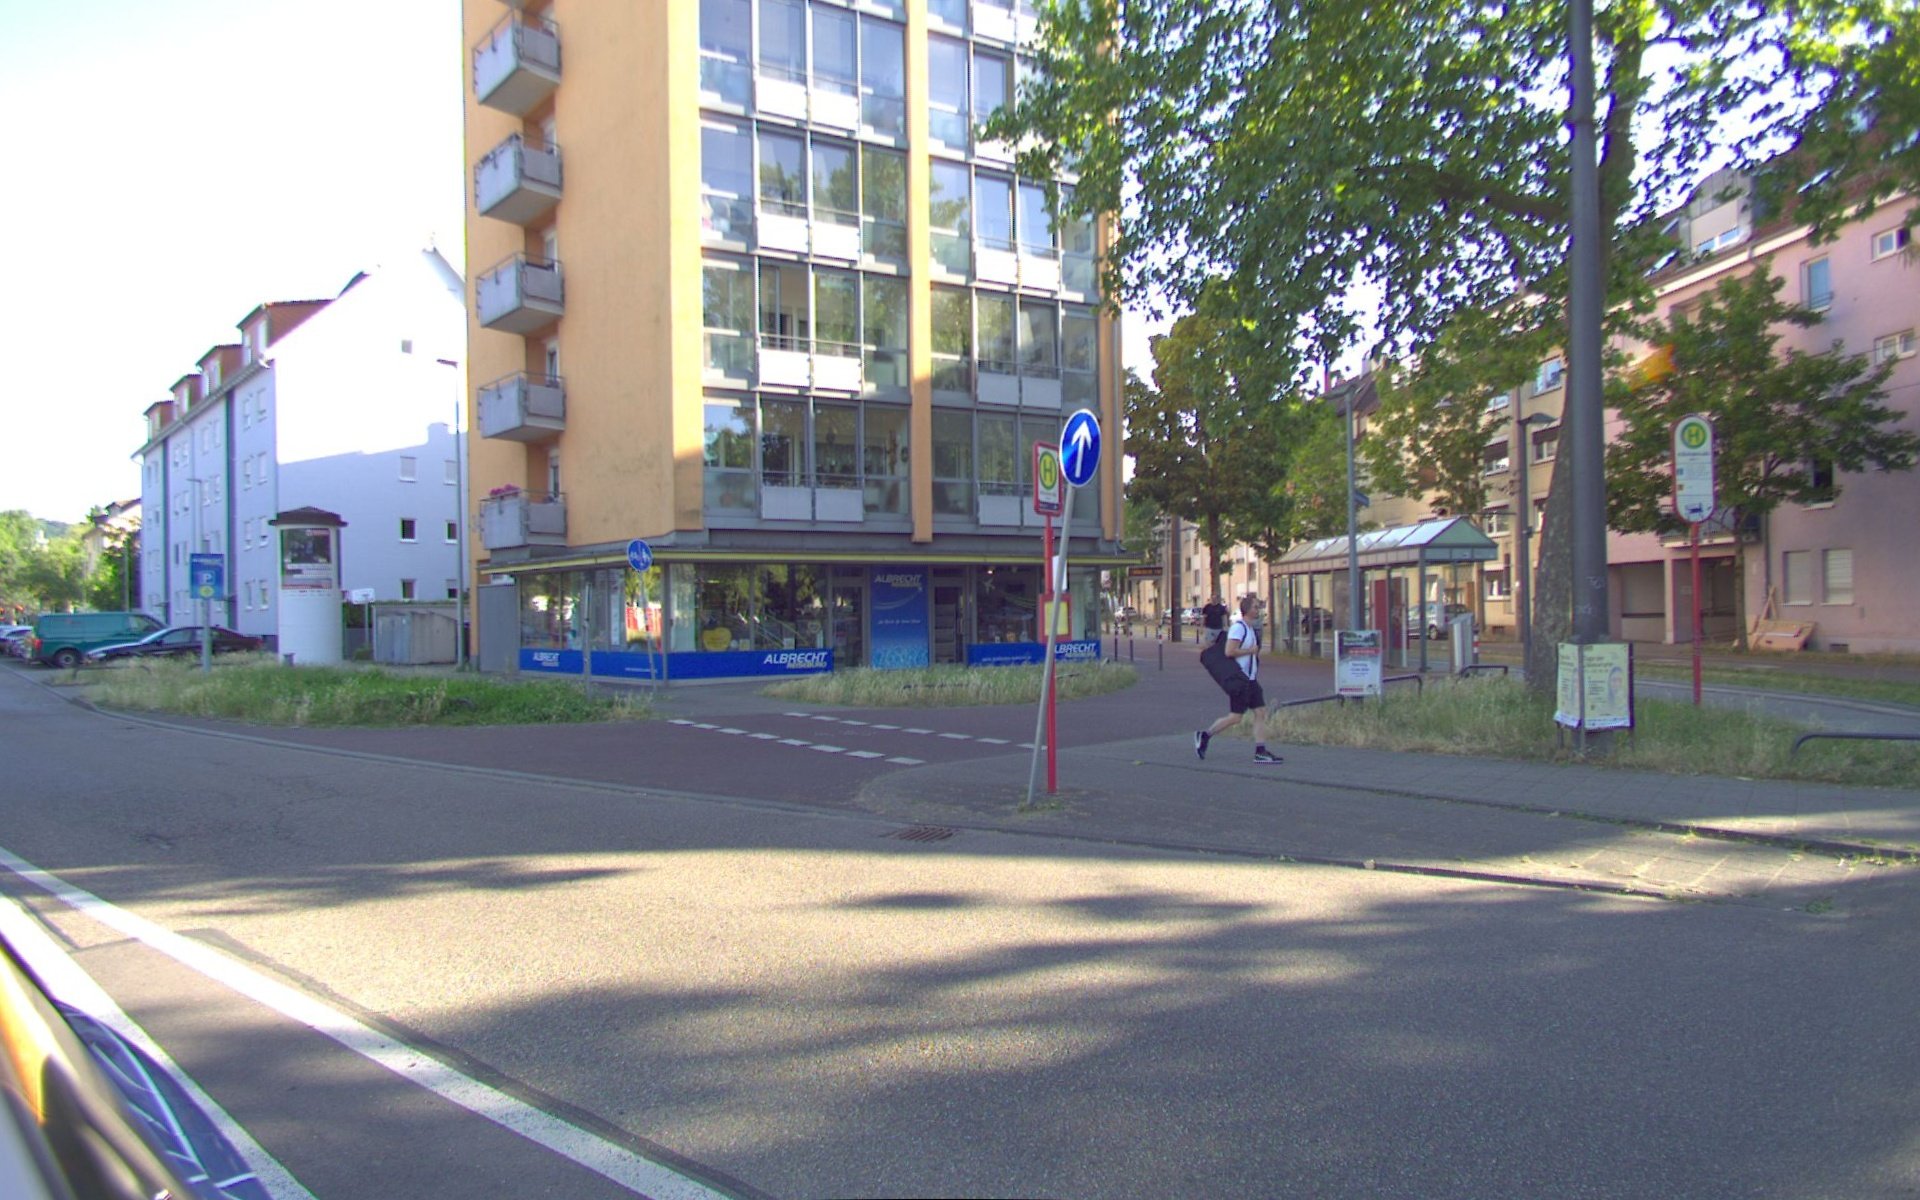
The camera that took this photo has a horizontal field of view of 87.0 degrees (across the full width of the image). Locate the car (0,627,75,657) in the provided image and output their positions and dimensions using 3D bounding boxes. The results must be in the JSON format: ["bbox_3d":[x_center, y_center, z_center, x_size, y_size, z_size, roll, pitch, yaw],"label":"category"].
[{"bbox_3d":[-55.665,2.500,60.388,4.199,1.585,1.867,-1,0,-44],"label":"car"}]

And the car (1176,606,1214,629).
[{"bbox_3d":[18.637,1.353,80.353,1.771,1.719,4.170,-1,0,-3],"label":"car"}]

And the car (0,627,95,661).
[{"bbox_3d":[-48.125,2.273,52.963,4.199,1.585,1.867,-1,0,-44],"label":"car"}]

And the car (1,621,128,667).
[{"bbox_3d":[-38.832,1.863,43.936,4.016,1.765,1.900,-1,0,-44],"label":"car"}]

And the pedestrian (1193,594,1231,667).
[{"bbox_3d":[6.135,0.737,24.671,0.803,1.763,0.538,-1,0,6],"label":"pedestrian"}]

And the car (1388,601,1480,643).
[{"bbox_3d":[20.741,0.909,44.438,1.911,1.719,4.115,-1,0,-3],"label":"car"}]

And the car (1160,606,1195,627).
[{"bbox_3d":[18.425,1.395,85.807,1.830,1.719,4.170,-1,0,-3],"label":"car"}]

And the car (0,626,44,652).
[{"bbox_3d":[-63.501,2.601,67.000,4.199,1.585,1.867,-1,0,-44],"label":"car"}]

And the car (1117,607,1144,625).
[{"bbox_3d":[17.734,1.640,105.448,1.911,1.719,4.372,-1,0,-3],"label":"car"}]

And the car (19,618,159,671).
[{"bbox_3d":[-33.126,1.647,38.537,3.941,1.829,2.001,-1,0,-44],"label":"car"}]

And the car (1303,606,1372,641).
[{"bbox_3d":[19.911,1.204,53.606,1.911,1.719,4.115,-1,0,-3],"label":"car"}]

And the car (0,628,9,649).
[{"bbox_3d":[-74.765,2.985,76.969,3.490,1.585,1.867,-1,0,-44],"label":"car"}]

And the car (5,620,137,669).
[{"bbox_3d":[-36.863,1.806,42.018,4.003,1.829,1.938,-1,0,-44],"label":"car"}]

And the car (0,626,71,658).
[{"bbox_3d":[-55.798,2.470,60.441,4.016,1.765,1.900,-1,0,-44],"label":"car"}]

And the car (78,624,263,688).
[{"bbox_3d":[-24.115,1.651,31.009,4.361,1.674,2.003,-1,0,-41],"label":"car"}]

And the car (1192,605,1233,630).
[{"bbox_3d":[18.699,1.268,75.163,1.808,1.719,4.059,-1,0,-3],"label":"car"}]

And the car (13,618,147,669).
[{"bbox_3d":[-35.125,1.672,40.440,3.941,1.829,2.001,-1,0,-44],"label":"car"}]

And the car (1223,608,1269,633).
[{"bbox_3d":[19.166,1.348,68.058,1.741,1.588,4.049,-1,0,-3],"label":"car"}]

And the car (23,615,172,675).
[{"bbox_3d":[-31.220,1.556,36.694,2.001,1.962,3.942,-1,0,44],"label":"car"}]

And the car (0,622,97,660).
[{"bbox_3d":[-46.123,2.036,50.872,4.061,1.785,1.758,-1,0,-44],"label":"car"}]

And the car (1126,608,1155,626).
[{"bbox_3d":[17.778,1.640,99.879,1.911,1.719,4.003,-1,0,-3],"label":"car"}]

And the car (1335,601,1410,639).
[{"bbox_3d":[19.900,0.920,48.993,1.911,1.719,3.827,-1,0,-3],"label":"car"}]

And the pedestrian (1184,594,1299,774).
[{"bbox_3d":[2.928,0.820,10.466,1.080,1.750,0.897,-1,0,19],"label":"pedestrian"}]

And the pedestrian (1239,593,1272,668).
[{"bbox_3d":[7.081,0.731,24.277,0.622,1.763,0.689,-1,0,6],"label":"pedestrian"}]
